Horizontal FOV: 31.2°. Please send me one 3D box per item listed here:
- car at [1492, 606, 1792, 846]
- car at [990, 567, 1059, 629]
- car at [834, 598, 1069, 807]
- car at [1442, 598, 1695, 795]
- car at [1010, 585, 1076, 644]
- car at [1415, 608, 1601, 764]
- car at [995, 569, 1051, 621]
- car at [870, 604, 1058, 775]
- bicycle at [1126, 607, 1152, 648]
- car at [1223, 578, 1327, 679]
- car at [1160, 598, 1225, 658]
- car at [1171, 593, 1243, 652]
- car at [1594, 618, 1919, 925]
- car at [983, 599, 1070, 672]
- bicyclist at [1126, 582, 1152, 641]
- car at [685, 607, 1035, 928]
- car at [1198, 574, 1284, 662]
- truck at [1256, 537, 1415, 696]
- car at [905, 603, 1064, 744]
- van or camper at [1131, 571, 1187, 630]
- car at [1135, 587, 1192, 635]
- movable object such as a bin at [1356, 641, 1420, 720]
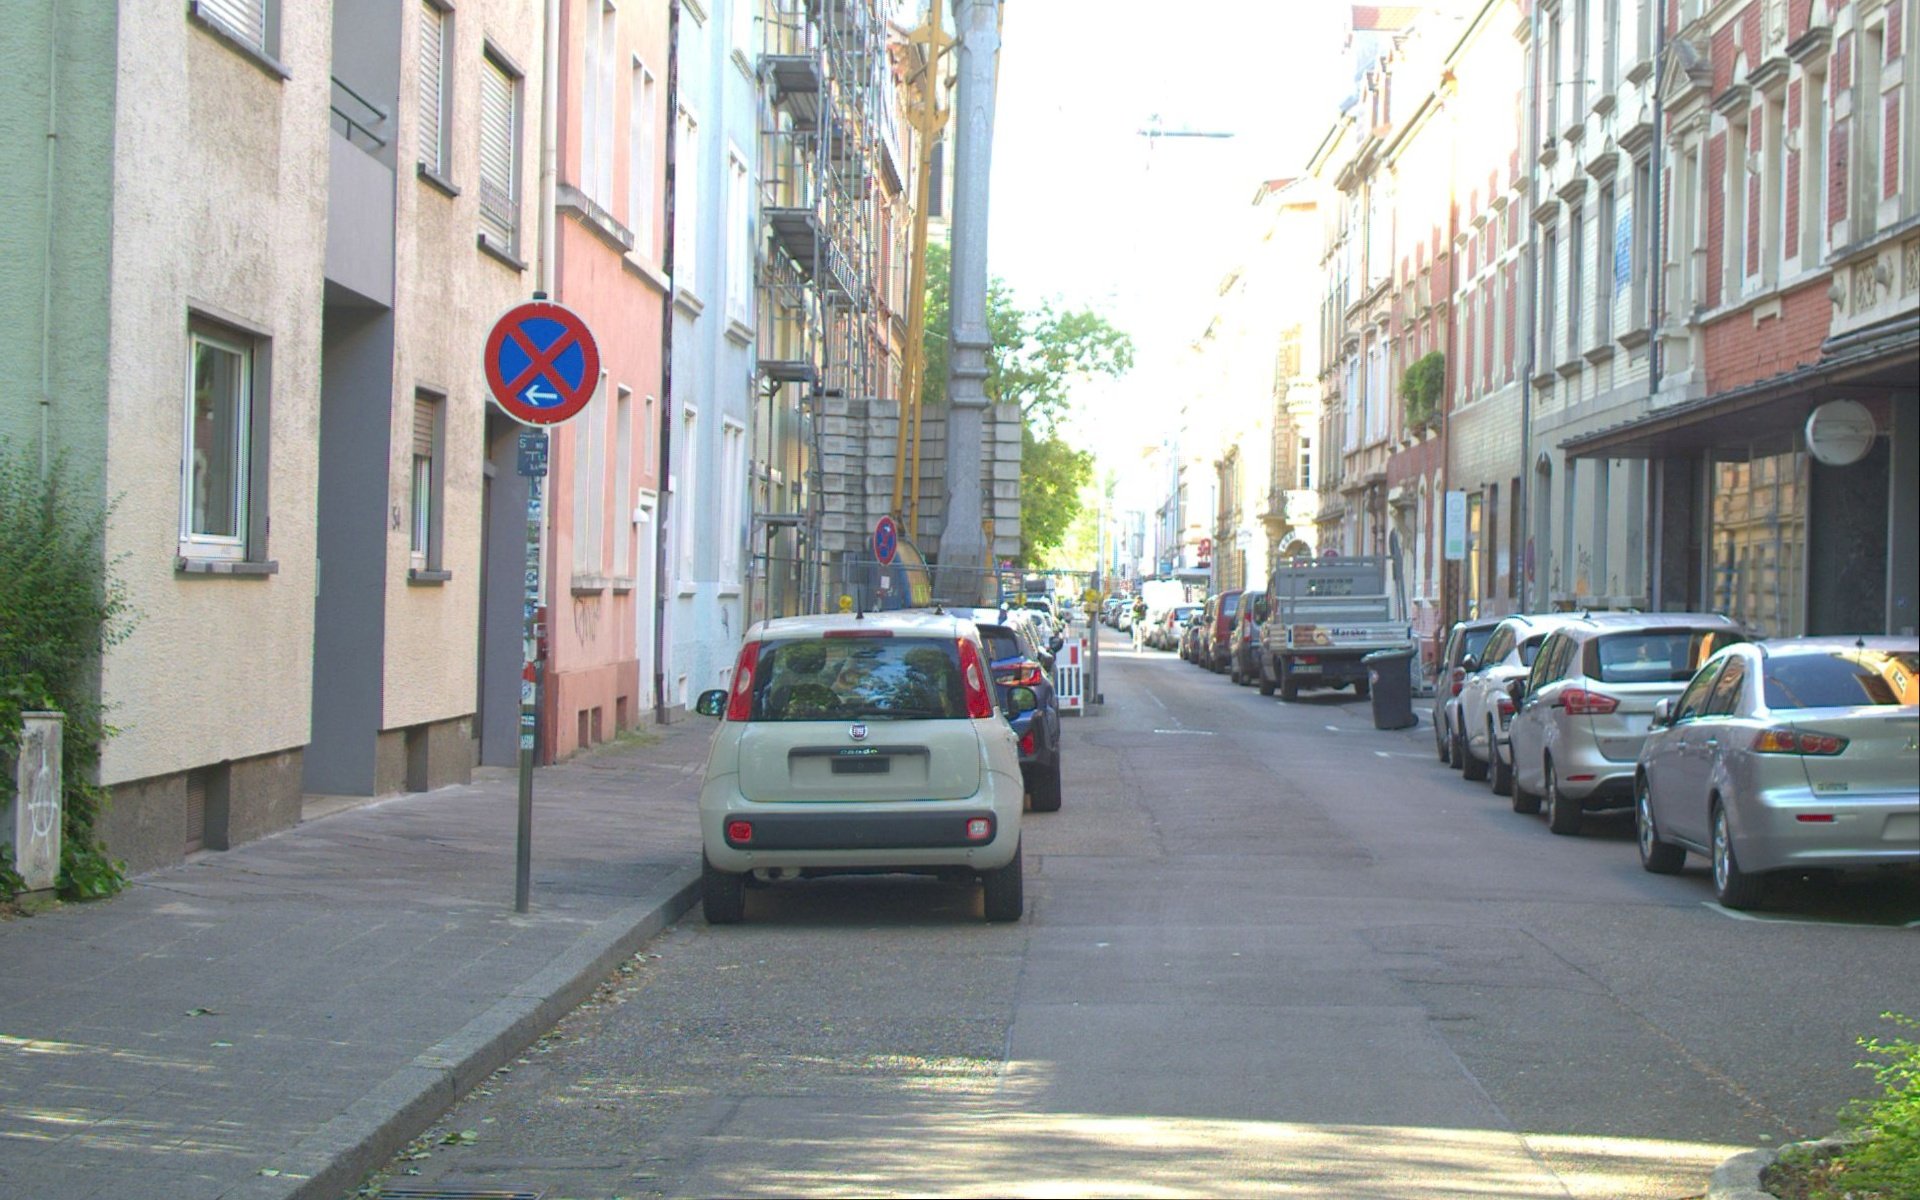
[{"bbox_3d":[5.121,0.899,26.254,1.640,1.650,3.869,2,0,3],"label":"car"},{"bbox_3d":[1.684,-0.044,90.471,1.675,1.566,3.869,1,0,-1],"label":"car"},{"bbox_3d":[-0.082,0.756,27.483,1.729,1.534,4.378,0,0,-1],"label":"car"},{"bbox_3d":[5.573,0.841,31.930,1.746,1.670,4.340,1,0,3],"label":"car"},{"bbox_3d":[2.296,0.403,95.643,1.675,1.566,3.869,1,0,-1],"label":"car"},{"bbox_3d":[5.864,0.881,37.109,1.597,1.555,3.813,1,0,3],"label":"car"},{"bbox_3d":[2.272,-0.173,124.813,1.993,1.842,4.000,0,0,1],"label":"car"},{"bbox_3d":[0.090,0.813,33.277,1.675,1.506,4.414,1,0,2],"label":"car"},{"bbox_3d":[5.493,0.844,105.770,0.724,1.182,2.042,2,1,2],"label":"bicycle"},{"bbox_3d":[6.350,0.567,69.640,1.675,1.956,4.109,1,0,-1],"label":"car"},{"bbox_3d":[8.097,0.946,120.024,1.993,2.007,4.000,1,0,1],"label":"car"},{"bbox_3d":[6.831,0.621,95.321,1.675,1.566,3.869,1,0,-1],"label":"car"},{"bbox_3d":[4.972,0.917,20.103,1.721,1.557,4.398,2,0,1],"label":"car"},{"bbox_3d":[1.349,0.721,71.479,1.675,1.440,3.869,1,0,-1],"label":"car"},{"bbox_3d":[5.518,0.354,105.809,0.730,1.755,0.835,2,1,2],"label":"bicyclist"},{"bbox_3d":[-0.500,0.812,18.526,1.675,1.534,3.869,0,0,-1],"label":"car"},{"bbox_3d":[6.687,0.423,82.129,1.675,2.024,3.869,1,0,-1],"label":"car"},{"bbox_3d":[6.400,0.266,59.129,2.190,2.598,5.234,0,0,1],"label":"truck"},{"bbox_3d":[0.323,0.788,39.001,1.675,1.472,4.607,1,0,2],"label":"car"},{"bbox_3d":[8.599,0.013,148.643,1.993,2.500,4.202,0,0,-2],"label":"van or camper"},{"bbox_3d":[7.910,0.422,133.997,1.993,1.842,4.000,0,0,1],"label":"car"},{"bbox_3d":[5.833,1.095,46.882,0.795,1.052,0.660,1,0,2],"label":"movable object such as a bin"}]
